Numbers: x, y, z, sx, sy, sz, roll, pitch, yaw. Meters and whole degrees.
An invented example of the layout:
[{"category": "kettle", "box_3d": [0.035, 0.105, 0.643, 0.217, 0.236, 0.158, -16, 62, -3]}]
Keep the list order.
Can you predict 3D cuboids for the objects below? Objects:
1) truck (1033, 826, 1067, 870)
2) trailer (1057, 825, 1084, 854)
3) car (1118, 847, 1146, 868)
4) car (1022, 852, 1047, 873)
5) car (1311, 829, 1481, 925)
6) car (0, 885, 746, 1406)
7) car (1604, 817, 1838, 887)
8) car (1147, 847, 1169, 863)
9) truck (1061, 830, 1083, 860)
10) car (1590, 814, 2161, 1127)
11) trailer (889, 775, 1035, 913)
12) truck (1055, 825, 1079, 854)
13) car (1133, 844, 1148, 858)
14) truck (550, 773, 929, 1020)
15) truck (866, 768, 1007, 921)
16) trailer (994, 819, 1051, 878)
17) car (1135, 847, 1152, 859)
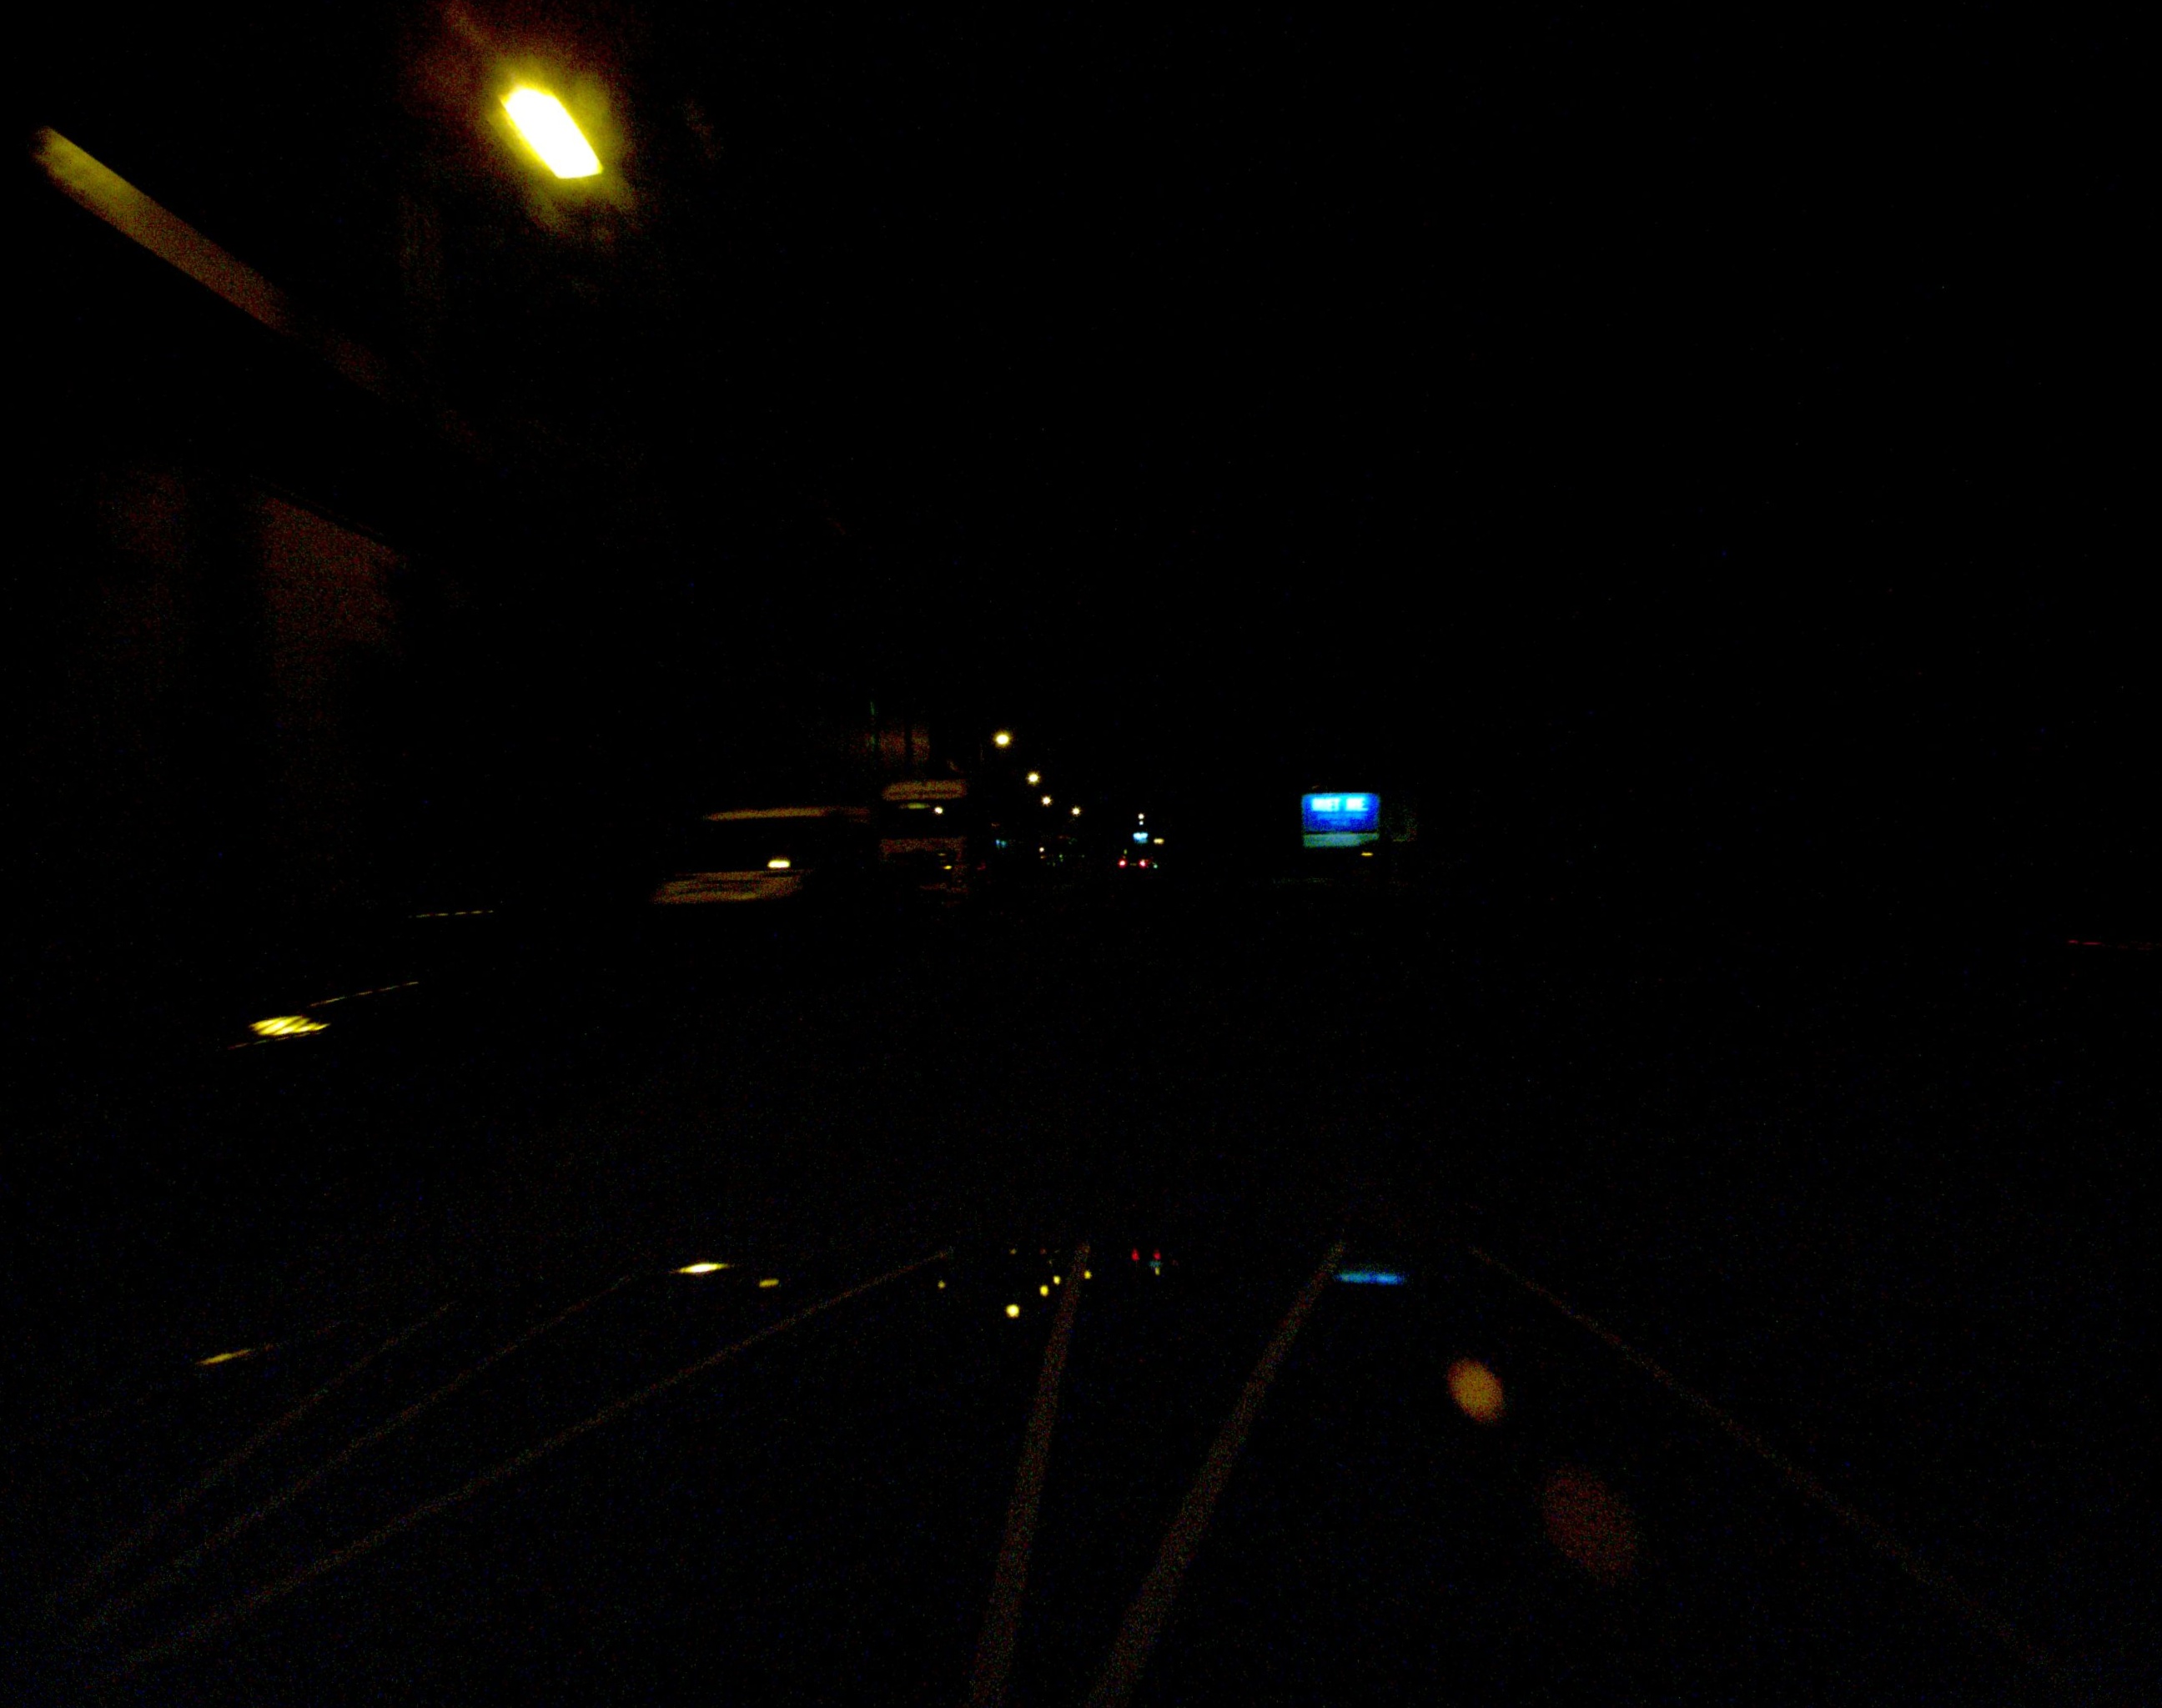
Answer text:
[{"category": "truck", "box_3d": [-3.004, -0.566, 76.071, 2.797, 3.947, 9.820, -3, 0, 0]}, {"category": "trailer", "box_3d": [-1.615, -2.492, 126.757, 3.072, 4.449, 13.412, -2, 1, 5]}, {"category": "car", "box_3d": [3.644, 0.213, 54.853, 1.825, 1.429, 4.398, -1, 1, 1]}, {"category": "car", "box_3d": [-3.720, 0.677, 60.688, 1.685, 1.551, 3.476, -1, 1, 1]}, {"category": "car", "box_3d": [6.742, 0.419, 16.922, 1.809, 1.788, 4.877, -1, 1, 1]}, {"category": "car", "box_3d": [-4.215, 1.083, 4.860, 1.834, 1.399, 4.907, -4, 1, 0]}, {"category": "car", "box_3d": [16.595, -0.062, 19.886, 4.410, 1.644, 1.922, -1, 1, 3]}, {"category": "car", "box_3d": [7.030, 0.095, 69.753, 1.761, 1.382, 4.308, -1, 1, 2]}, {"category": "truck", "box_3d": [-1.260, -1.142, 108.273, 2.660, 3.851, 10.232, -3, -1, 1]}, {"category": "car", "box_3d": [6.779, 0.584, 6.262, 1.952, 1.679, 4.815, -1, 1, 0]}, {"category": "trailer", "box_3d": [-3.786, -0.423, 28.655, 2.772, 3.742, 14.653, -3, 1, 1]}, {"category": "truck", "box_3d": [-2.185, -2.296, 120.049, 3.072, 4.449, 5.635, -2, 1, 5]}, {"category": "car", "box_3d": [7.393, -0.366, 94.439, 1.590, 1.591, 3.780, -3, 1, 1]}, {"category": "truck", "box_3d": [-4.306, 0.426, 11.393, 2.407, 2.579, 6.597, -1, 1, 2]}, {"category": "truck", "box_3d": [-3.899, -0.288, 21.813, 2.772, 3.742, 5.227, -3, 1, 1]}, {"category": "trailer", "box_3d": [-3.605, -0.361, 49.089, 2.885, 3.504, 8.282, 0, 1, 1]}, {"category": "car", "box_3d": [7.280, -0.124, 88.941, 1.690, 1.357, 3.878, -3, 1, 1]}]
